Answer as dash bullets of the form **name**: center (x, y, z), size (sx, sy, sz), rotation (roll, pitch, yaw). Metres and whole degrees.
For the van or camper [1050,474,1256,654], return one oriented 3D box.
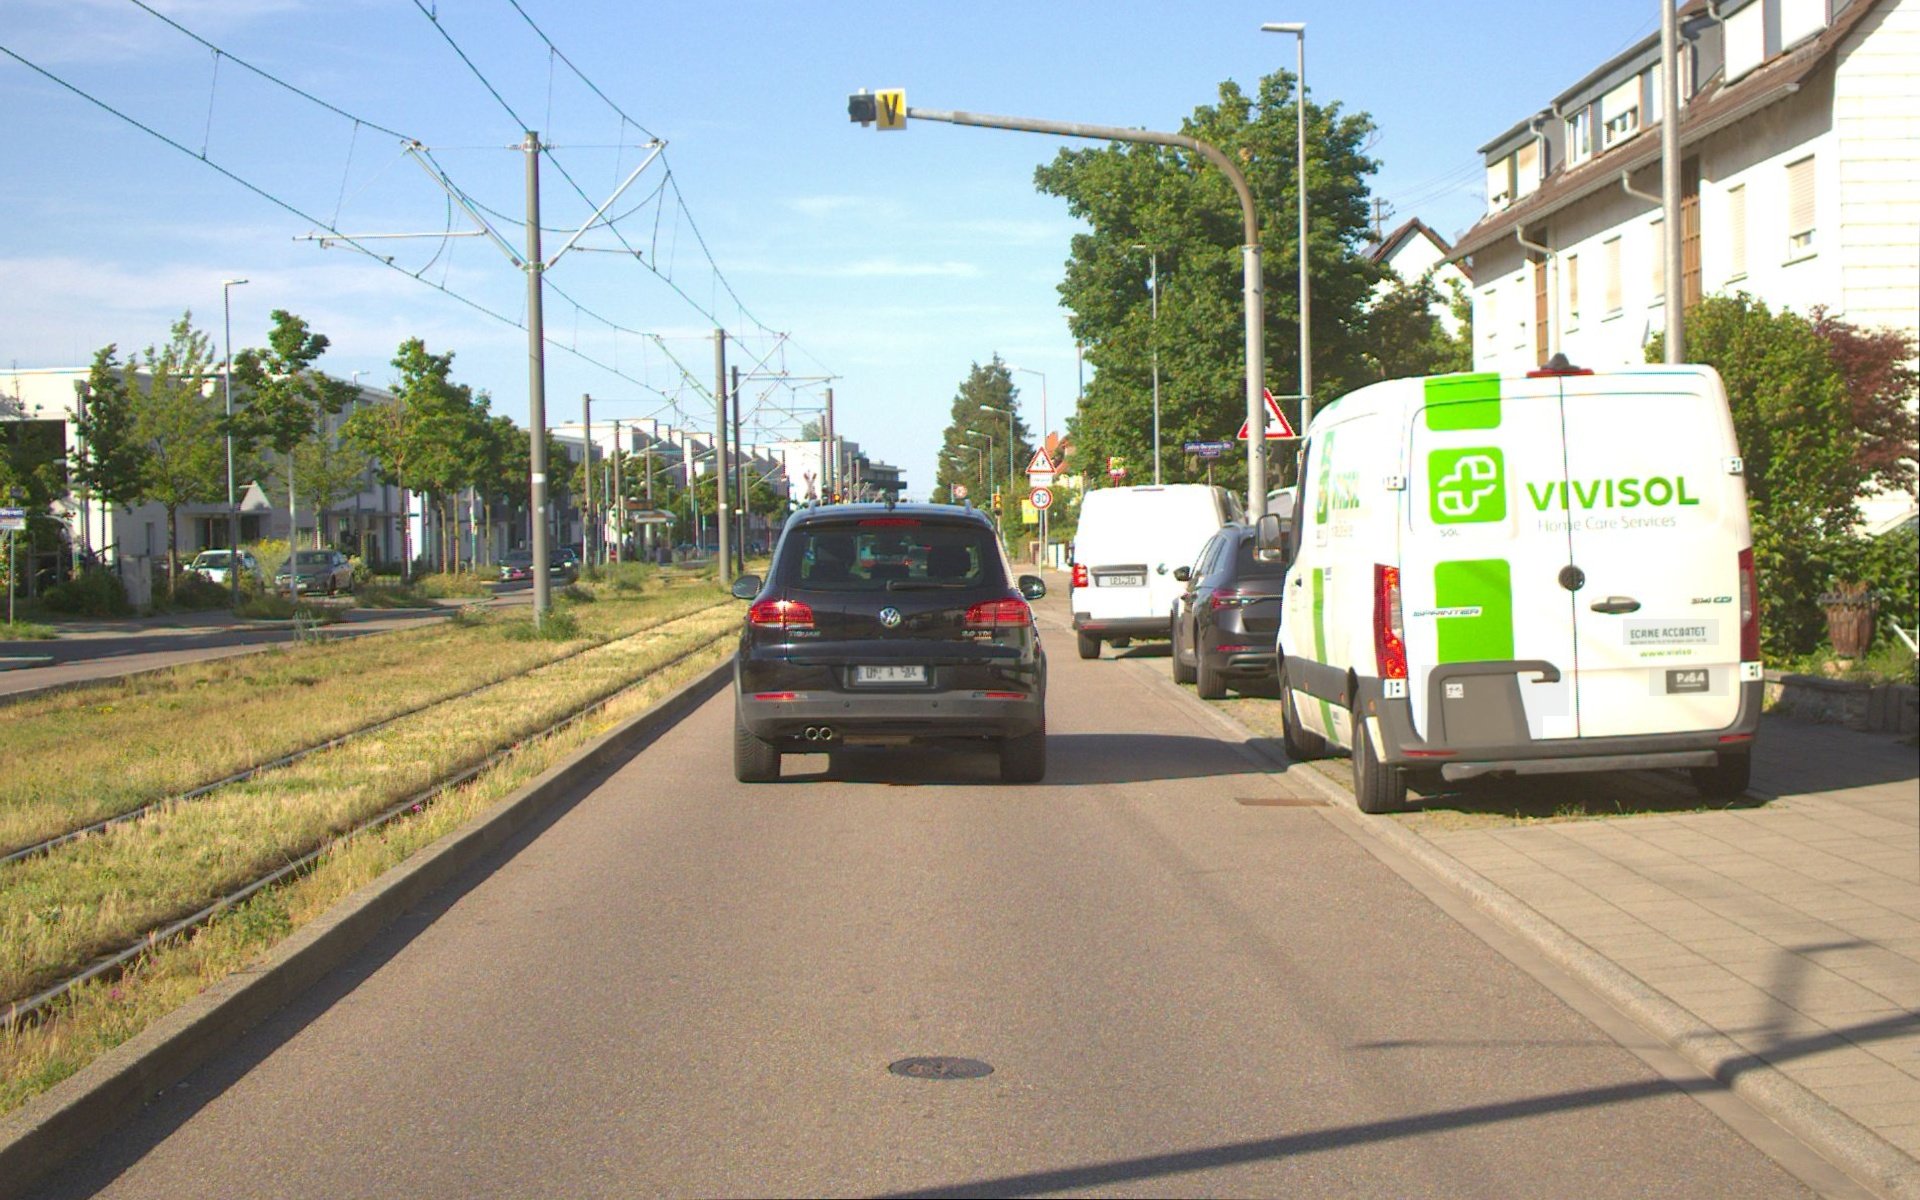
- **van or camper**: center (2.373, -0.480, 40.893), size (2.028, 1.949, 5.294), rotation (-1, 2, 7)

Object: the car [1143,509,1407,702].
- **car**: center (2.692, 0.000, 30.431), size (1.748, 1.489, 5.155), rotation (-3, 1, 0)

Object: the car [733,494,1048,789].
- **car**: center (-0.481, 0.202, 21.390), size (1.775, 1.664, 4.001), rotation (0, 1, -3)

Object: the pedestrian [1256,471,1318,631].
- **pedestrian**: center (3.942, -0.589, 41.359), size (0.699, 1.905, 0.759), rotation (0, 1, 8)

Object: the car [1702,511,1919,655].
- **car**: center (10.665, -0.224, 37.403), size (4.711, 1.472, 1.907), rotation (-2, 0, -2)

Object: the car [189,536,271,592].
- **car**: center (-19.727, -0.988, 93.008), size (1.544, 1.486, 3.776), rotation (0, 1, -2)

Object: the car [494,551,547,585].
- **car**: center (-19.705, -1.447, 154.305), size (1.688, 1.384, 4.388), rotation (-3, 1, 1)

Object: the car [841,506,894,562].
- **car**: center (-4.352, -3.119, 162.234), size (2.394, 2.556, 5.530), rotation (-1, 1, -1)

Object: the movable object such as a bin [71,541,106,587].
- **movable object such as a bin**: center (-27.290, -1.138, 107.644), size (0.664, 1.428, 1.254), rotation (0, 1, 7)

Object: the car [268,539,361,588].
- **car**: center (-19.870, -1.144, 106.009), size (1.811, 1.456, 4.317), rotation (0, 1, 4)

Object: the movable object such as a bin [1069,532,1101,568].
- **movable object such as a bin**: center (3.972, -1.598, 109.438), size (0.976, 1.107, 1.170), rotation (-1, 1, 3)

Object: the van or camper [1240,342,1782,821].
- **van or camper**: center (2.971, -0.144, 20.059), size (1.993, 2.263, 6.305), rotation (-3, 1, 0)
